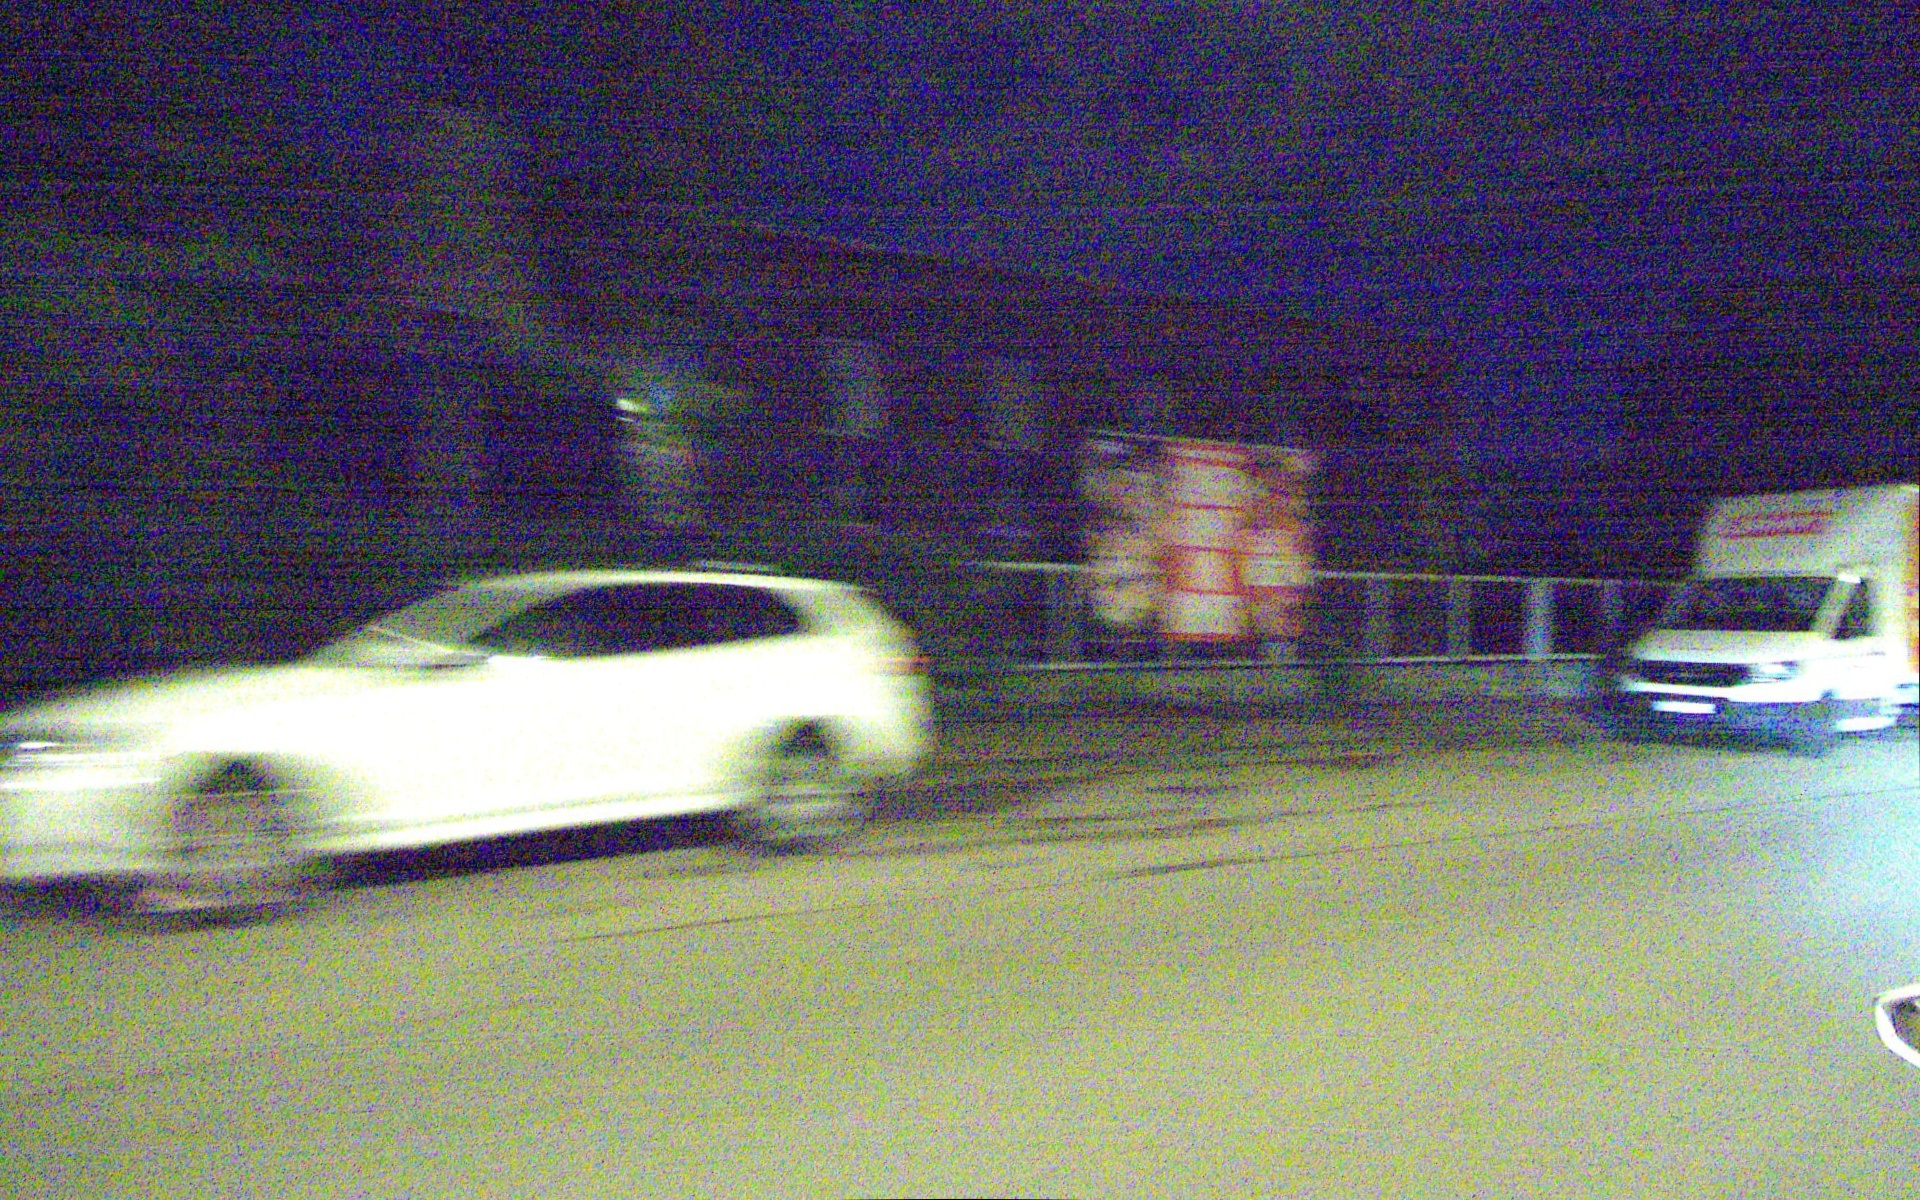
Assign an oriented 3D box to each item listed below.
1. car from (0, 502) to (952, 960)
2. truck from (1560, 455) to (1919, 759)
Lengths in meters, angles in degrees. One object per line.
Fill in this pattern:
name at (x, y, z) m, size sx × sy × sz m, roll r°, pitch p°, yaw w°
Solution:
car at (-2.528, 0.562, 5.957) m, size 4.643 × 1.795 × 1.982 m, roll 1°, pitch -1°, yaw -34°
truck at (11.730, 0.156, 13.709) m, size 7.214 × 3.324 × 2.536 m, roll 1°, pitch -1°, yaw -26°
